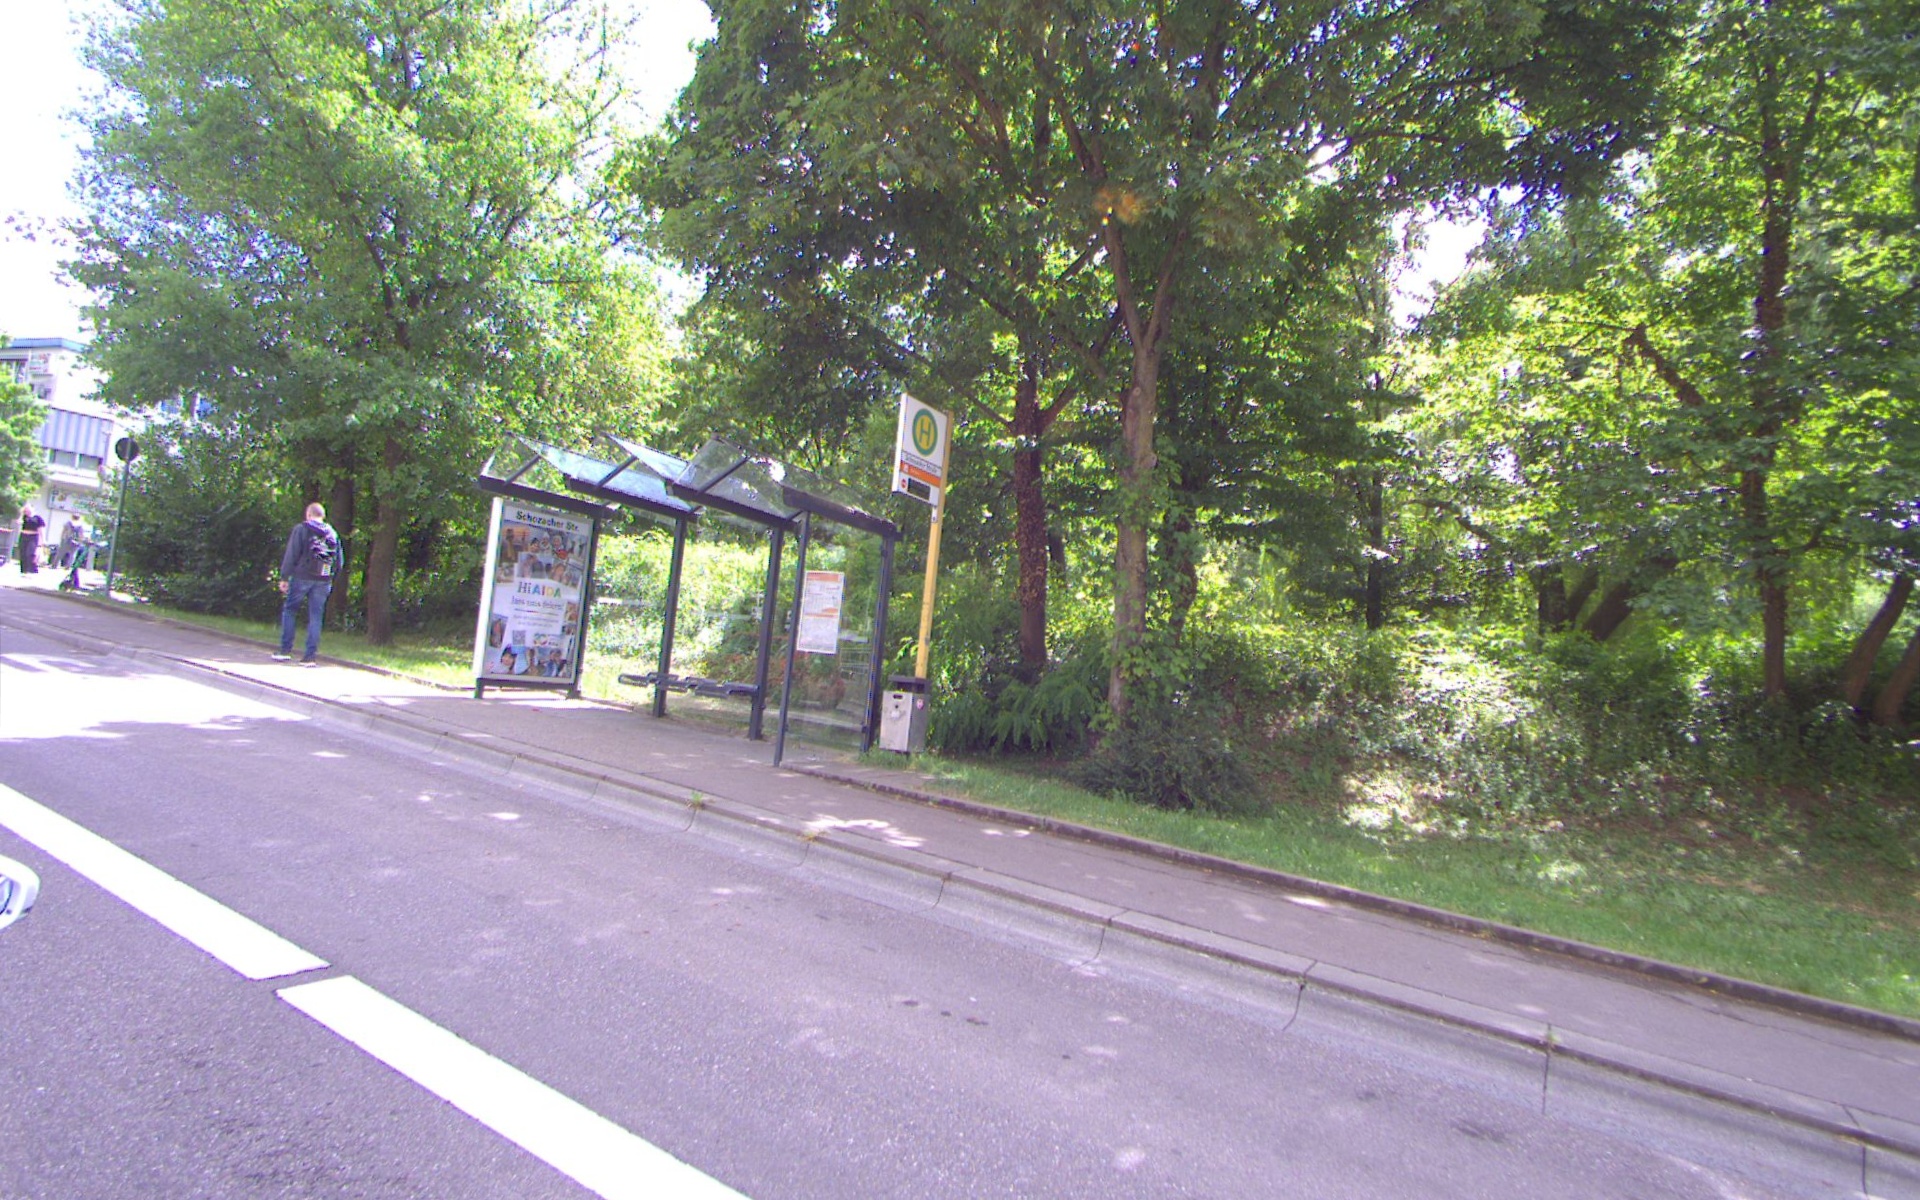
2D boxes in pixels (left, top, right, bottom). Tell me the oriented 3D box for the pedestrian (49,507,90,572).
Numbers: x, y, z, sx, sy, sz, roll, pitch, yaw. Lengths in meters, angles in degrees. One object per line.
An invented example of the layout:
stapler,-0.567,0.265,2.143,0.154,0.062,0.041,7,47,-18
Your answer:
pedestrian,-26.707,-1.808,30.181,0.611,1.808,0.562,12,-5,-40

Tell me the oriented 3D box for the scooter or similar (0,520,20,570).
scooter or similar,-24.936,-1.462,25.771,0.326,1.273,1.111,7,-1,20

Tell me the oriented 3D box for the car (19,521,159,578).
car,-33.513,-1.900,38.822,1.679,1.619,3.592,6,-2,20

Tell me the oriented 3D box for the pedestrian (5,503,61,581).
pedestrian,-23.155,-1.437,25.144,0.758,1.808,0.562,13,-5,-42

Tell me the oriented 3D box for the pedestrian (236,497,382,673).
pedestrian,-7.784,-0.185,12.037,1.250,1.916,0.803,6,-2,33

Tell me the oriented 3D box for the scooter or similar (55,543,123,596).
scooter or similar,-20.298,-0.703,23.466,0.325,1.112,1.153,7,-2,9
